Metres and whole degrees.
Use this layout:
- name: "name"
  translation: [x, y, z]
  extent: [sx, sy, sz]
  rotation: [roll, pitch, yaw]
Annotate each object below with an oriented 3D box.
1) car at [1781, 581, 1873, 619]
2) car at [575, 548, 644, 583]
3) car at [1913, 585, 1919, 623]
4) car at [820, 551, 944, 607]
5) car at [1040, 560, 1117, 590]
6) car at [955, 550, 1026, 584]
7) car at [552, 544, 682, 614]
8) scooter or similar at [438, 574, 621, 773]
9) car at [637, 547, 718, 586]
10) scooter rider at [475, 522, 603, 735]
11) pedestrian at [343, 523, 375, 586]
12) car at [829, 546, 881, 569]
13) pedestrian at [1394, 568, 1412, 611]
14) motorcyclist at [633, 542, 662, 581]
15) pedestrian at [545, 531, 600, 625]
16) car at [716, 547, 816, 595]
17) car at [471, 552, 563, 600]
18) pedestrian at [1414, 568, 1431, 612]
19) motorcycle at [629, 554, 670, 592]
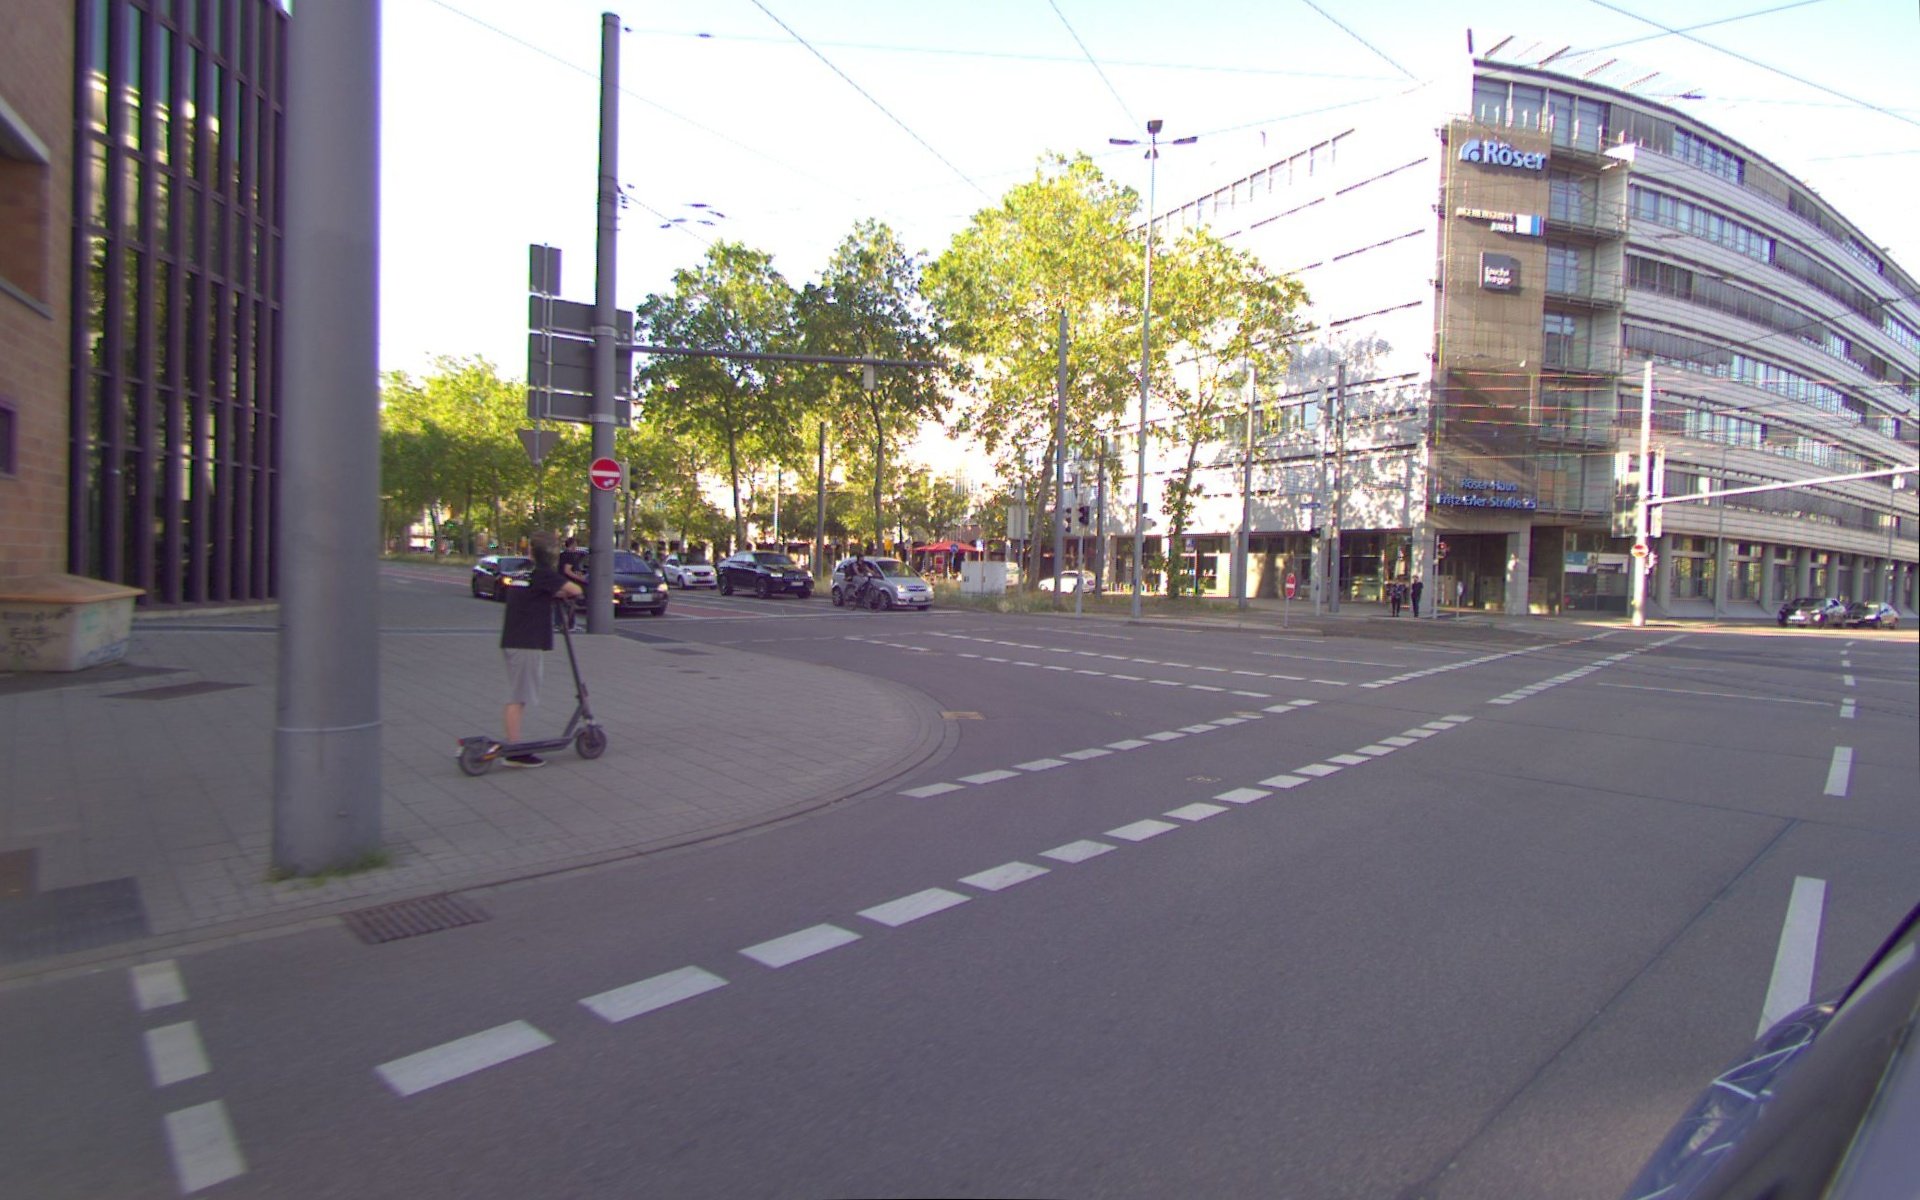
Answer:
- name: "car"
  translation: [41.340, -0.002, 48.267]
  extent: [4.086, 1.641, 1.908]
  rotation: [2, 1, -28]
- name: "car"
  translation: [-17.038, -1.702, 49.083]
  extent: [1.826, 1.571, 4.322]
  rotation: [0, 3, -39]
- name: "car"
  translation: [43.774, 0.251, 44.237]
  extent: [3.786, 1.641, 1.908]
  rotation: [2, 1, -28]
- name: "car"
  translation: [-2.524, -0.708, 31.896]
  extent: [1.705, 1.616, 4.322]
  rotation: [0, 3, -39]
- name: "car"
  translation: [6.711, -1.460, 57.826]
  extent: [1.826, 1.571, 4.323]
  rotation: [0, 3, -38]
- name: "car"
  translation: [1.886, -2.071, 62.963]
  extent: [1.965, 2.038, 4.380]
  rotation: [0, 3, -41]
- name: "car"
  translation: [-9.181, -0.621, 26.861]
  extent: [1.807, 1.674, 4.497]
  rotation: [-1, 3, -39]
- name: "scooter or similar"
  translation: [-3.139, 0.487, 7.438]
  extent: [0.527, 1.334, 1.116]
  rotation: [3, 2, 39]
- name: "car"
  translation: [-12.337, -1.466, 44.003]
  extent: [1.826, 1.571, 4.322]
  rotation: [0, 3, -39]
- name: "scooter rider"
  translation: [-3.102, 0.182, 7.465]
  extent: [0.505, 1.479, 0.711]
  rotation: [3, 2, 40]
- name: "pedestrian"
  translation: [-19.867, -1.505, 33.450]
  extent: [0.882, 2.038, 0.758]
  rotation: [1, 1, -33]
- name: "car"
  translation: [-7.769, -3.135, 74.759]
  extent: [1.826, 1.571, 4.323]
  rotation: [0, 3, -38]
- name: "pedestrian"
  translation: [19.135, -0.461, 43.733]
  extent: [0.585, 1.846, 0.538]
  rotation: [2, 2, 35]
- name: "motorcyclist"
  translation: [-11.367, -1.416, 36.837]
  extent: [0.805, 1.370, 0.749]
  rotation: [2, 1, -33]
- name: "pedestrian"
  translation: [-7.416, -0.425, 19.397]
  extent: [0.807, 1.737, 0.665]
  rotation: [1, 2, -6]
- name: "car"
  translation: [-7.278, -1.100, 37.629]
  extent: [1.826, 1.671, 4.322]
  rotation: [0, 3, -39]
- name: "car"
  translation: [-14.159, -0.783, 32.243]
  extent: [1.886, 1.393, 4.000]
  rotation: [0, 2, -36]
- name: "pedestrian"
  translation: [19.769, -0.440, 43.245]
  extent: [0.543, 1.846, 0.369]
  rotation: [2, 2, 35]
- name: "motorcycle"
  translation: [-11.221, -0.982, 36.533]
  extent: [0.836, 1.274, 2.033]
  rotation: [2, 1, -33]
